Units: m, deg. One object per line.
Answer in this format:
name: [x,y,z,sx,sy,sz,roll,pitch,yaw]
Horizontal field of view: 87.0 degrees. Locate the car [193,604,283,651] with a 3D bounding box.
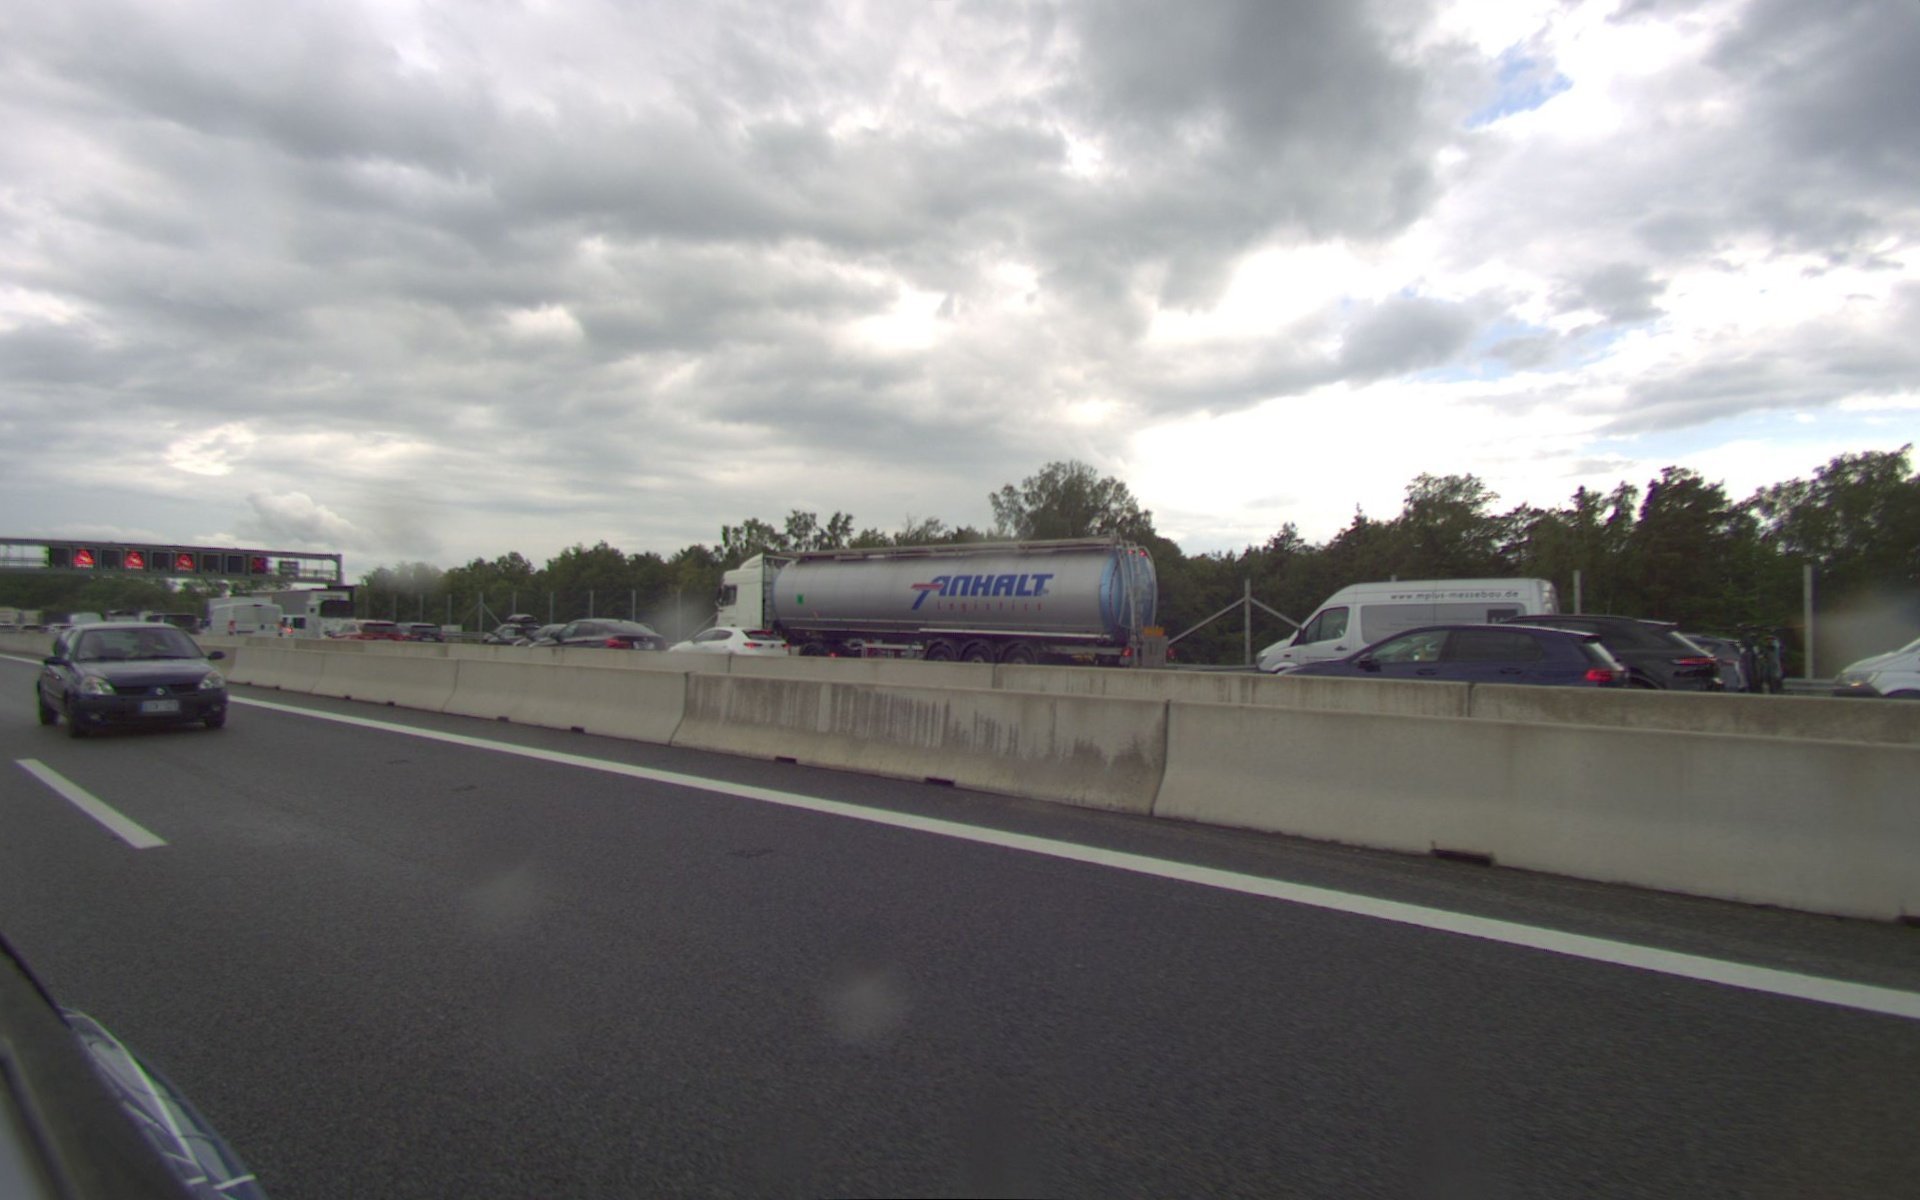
car: [-32.514,1.230,45.520,5.628,1.984,2.073,-2,-1,41]

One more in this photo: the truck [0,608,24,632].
truck: [-176.446,3.821,187.294,17.732,4.052,2.621,-2,-3,40]

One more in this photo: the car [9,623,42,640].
car: [-87.160,2.938,94.397,4.390,1.449,1.740,-2,-1,40]

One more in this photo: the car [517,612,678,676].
car: [-9.488,1.087,26.250,4.970,1.495,1.746,-1,-1,41]

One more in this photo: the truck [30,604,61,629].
truck: [-137.586,2.483,152.177,7.801,3.564,2.438,-2,-3,40]

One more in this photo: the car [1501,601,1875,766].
car: [10.028,1.050,14.145,3.998,1.968,1.874,-2,-1,41]

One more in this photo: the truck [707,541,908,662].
truck: [-5.077,0.131,32.842,6.796,3.540,2.700,-2,-1,41]

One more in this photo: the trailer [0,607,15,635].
trailer: [-155.174,3.440,162.886,11.947,4.226,3.154,-2,-3,40]

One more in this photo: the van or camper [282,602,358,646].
van or camper: [-33.816,1.266,53.384,4.968,2.202,2.073,-2,-1,41]

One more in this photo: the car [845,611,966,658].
car: [-1.940,1.163,35.261,3.998,1.542,1.973,-1,-1,41]

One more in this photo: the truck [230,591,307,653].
truck: [-56.515,1.825,82.604,8.020,4.893,3.115,-2,-1,40]

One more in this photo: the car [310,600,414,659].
car: [-21.642,1.048,36.536,4.803,1.984,1.844,-1,-1,41]

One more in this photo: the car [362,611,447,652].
car: [-24.287,1.346,44.180,4.424,1.673,1.844,-1,-1,41]

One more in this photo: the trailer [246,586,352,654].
trailer: [-51.168,1.610,78.121,13.283,4.893,3.115,-2,-1,40]

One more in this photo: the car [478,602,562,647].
car: [-20.290,1.123,46.612,3.998,1.984,2.073,-1,-1,41]

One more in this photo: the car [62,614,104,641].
car: [-85.868,2.707,99.026,6.061,2.507,2.180,-2,-3,40]

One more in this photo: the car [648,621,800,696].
car: [-6.973,1.666,29.623,5.040,1.984,1.708,-2,-1,41]

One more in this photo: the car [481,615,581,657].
car: [-16.309,1.334,38.368,4.350,1.514,1.781,-1,-1,41]

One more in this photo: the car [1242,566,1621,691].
car: [9.268,0.566,20.455,6.615,2.166,2.094,-2,-1,41]

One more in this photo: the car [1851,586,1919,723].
car: [15.868,0.715,13.840,5.436,1.952,2.094,-2,-1,41]

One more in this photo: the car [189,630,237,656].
car: [-51.692,2.964,69.977,4.793,1.680,1.694,-2,-1,41]

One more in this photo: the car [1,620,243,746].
car: [-11.586,0.991,13.852,5.013,1.418,1.758,-1,-1,41]

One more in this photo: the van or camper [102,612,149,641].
van or camper: [-85.820,2.779,104.024,6.206,2.869,2.558,-2,-3,39]

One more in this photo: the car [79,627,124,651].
car: [-57.930,2.640,68.240,4.931,1.504,1.625,-2,-1,41]

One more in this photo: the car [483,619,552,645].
car: [-23.852,1.706,54.499,3.998,1.331,1.870,-2,-1,41]

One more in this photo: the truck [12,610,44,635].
truck: [-157.099,3.819,170.588,10.750,3.870,2.868,-2,-3,41]

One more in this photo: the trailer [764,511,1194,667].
trailer: [-0.203,-0.069,28.564,13.603,3.553,2.682,-2,-1,41]

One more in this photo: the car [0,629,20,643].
car: [-101.091,3.806,107.166,4.500,1.402,1.686,-2,-2,39]

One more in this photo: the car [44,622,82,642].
car: [-71.088,2.575,80.184,4.391,1.509,1.740,-2,-1,41]

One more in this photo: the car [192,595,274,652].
car: [-45.195,1.480,62.812,7.623,3.325,2.472,-2,-1,41]

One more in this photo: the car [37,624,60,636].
car: [-114.228,3.726,126.834,4.413,1.458,1.604,-2,-3,40]

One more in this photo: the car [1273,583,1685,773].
car: [6.327,0.854,12.608,4.210,1.968,1.874,-2,-1,41]

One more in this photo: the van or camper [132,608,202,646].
van or camper: [-44.545,1.504,56.799,6.343,2.029,1.973,-1,-1,41]

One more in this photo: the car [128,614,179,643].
car: [-73.472,2.557,92.141,7.353,2.566,2.248,-1,-1,40]
